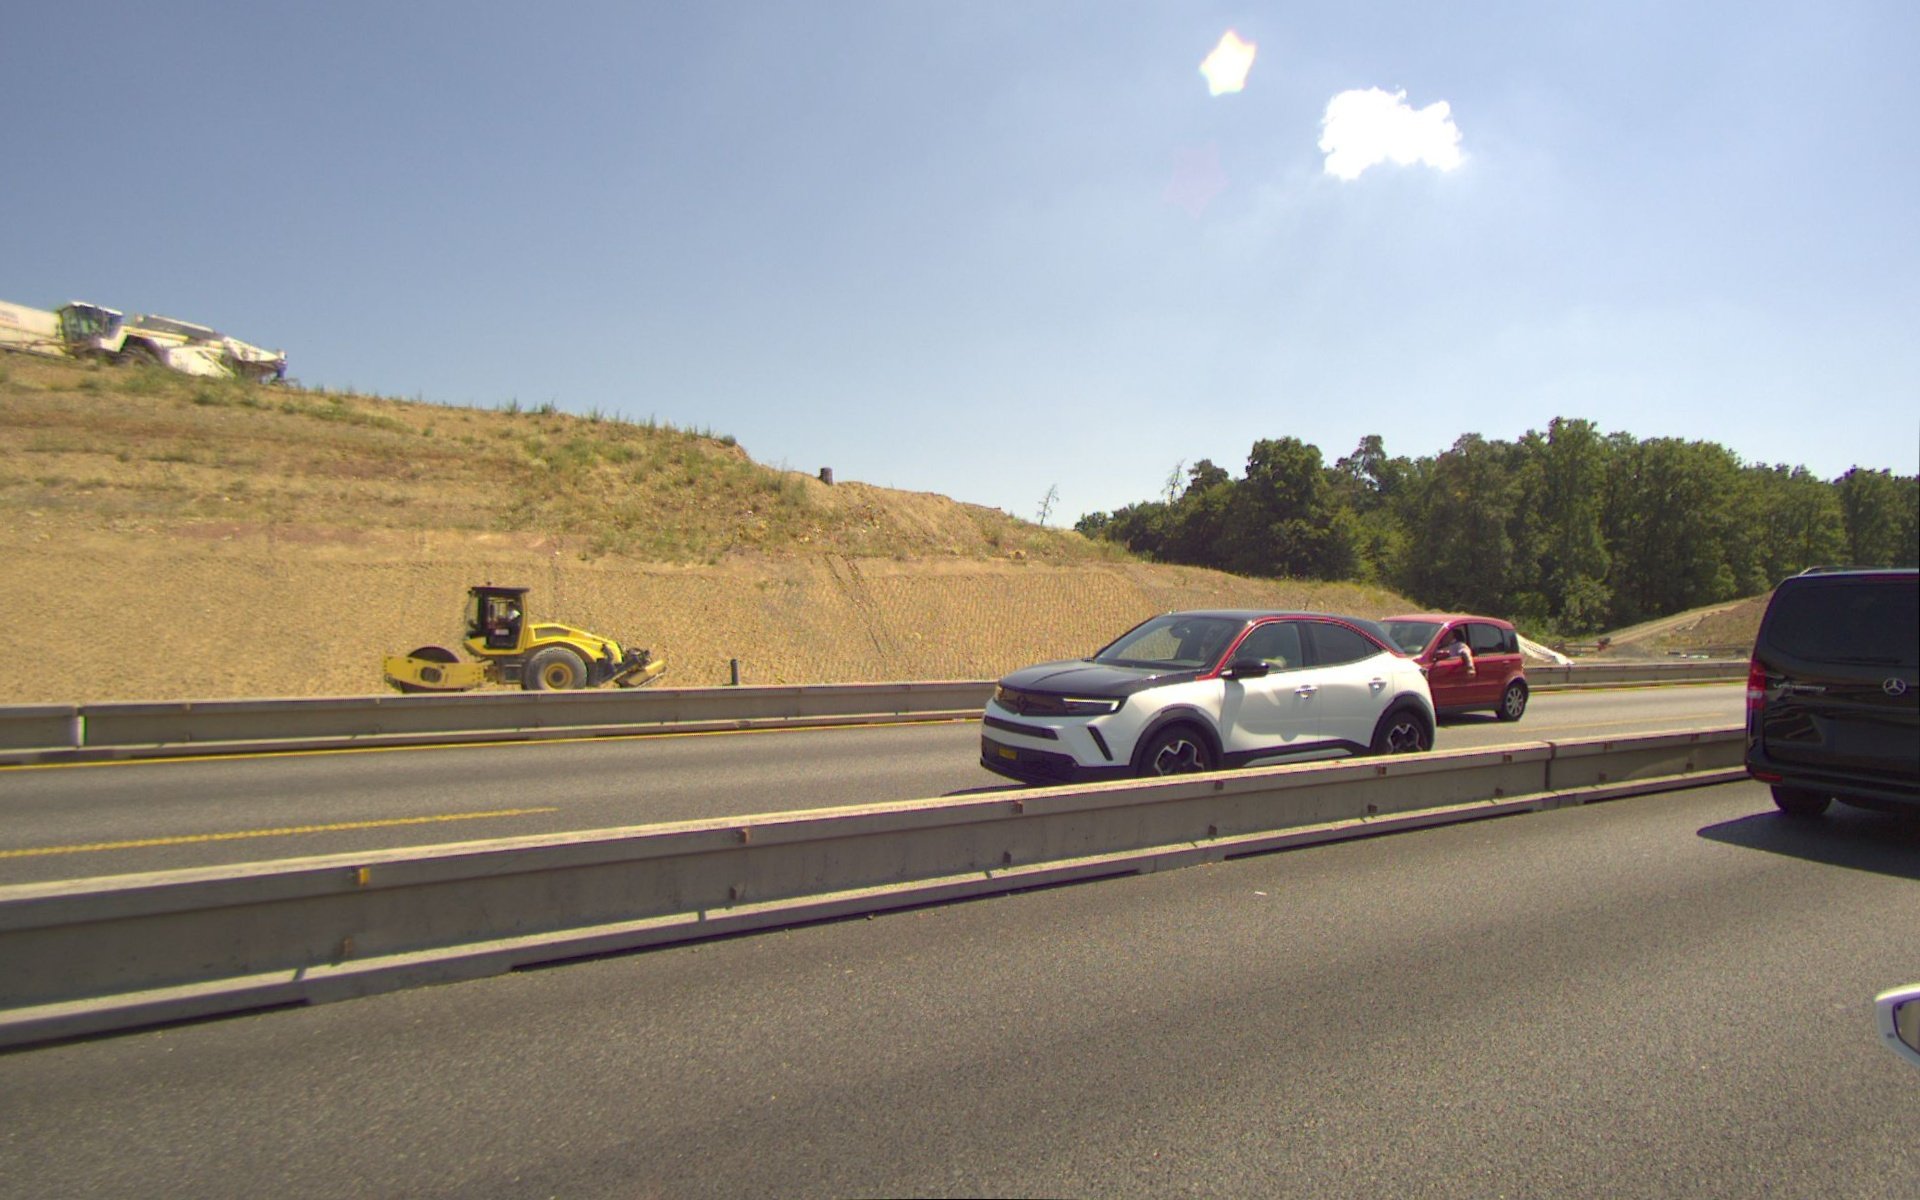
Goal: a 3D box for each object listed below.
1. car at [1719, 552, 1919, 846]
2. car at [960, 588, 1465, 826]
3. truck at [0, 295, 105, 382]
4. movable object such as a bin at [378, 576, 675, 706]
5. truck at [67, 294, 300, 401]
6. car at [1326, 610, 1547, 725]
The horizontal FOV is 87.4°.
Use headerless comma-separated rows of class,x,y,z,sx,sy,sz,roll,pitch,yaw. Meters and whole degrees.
car,8.383,0.709,7.929,5.415,1.876,1.865,2,0,-31
car,2.167,0.783,8.357,4.019,1.577,1.618,3,0,-29
truck,-44.728,-12.409,45.923,2.317,2.937,8.362,2,0,24
movable object such as a bin,-11.510,1.093,27.038,7.079,3.150,2.159,1,-2,-30
truck,-37.501,-12.077,49.038,2.259,2.785,8.899,2,-1,26
car,6.934,0.957,14.577,3.116,1.481,1.369,3,0,-31
